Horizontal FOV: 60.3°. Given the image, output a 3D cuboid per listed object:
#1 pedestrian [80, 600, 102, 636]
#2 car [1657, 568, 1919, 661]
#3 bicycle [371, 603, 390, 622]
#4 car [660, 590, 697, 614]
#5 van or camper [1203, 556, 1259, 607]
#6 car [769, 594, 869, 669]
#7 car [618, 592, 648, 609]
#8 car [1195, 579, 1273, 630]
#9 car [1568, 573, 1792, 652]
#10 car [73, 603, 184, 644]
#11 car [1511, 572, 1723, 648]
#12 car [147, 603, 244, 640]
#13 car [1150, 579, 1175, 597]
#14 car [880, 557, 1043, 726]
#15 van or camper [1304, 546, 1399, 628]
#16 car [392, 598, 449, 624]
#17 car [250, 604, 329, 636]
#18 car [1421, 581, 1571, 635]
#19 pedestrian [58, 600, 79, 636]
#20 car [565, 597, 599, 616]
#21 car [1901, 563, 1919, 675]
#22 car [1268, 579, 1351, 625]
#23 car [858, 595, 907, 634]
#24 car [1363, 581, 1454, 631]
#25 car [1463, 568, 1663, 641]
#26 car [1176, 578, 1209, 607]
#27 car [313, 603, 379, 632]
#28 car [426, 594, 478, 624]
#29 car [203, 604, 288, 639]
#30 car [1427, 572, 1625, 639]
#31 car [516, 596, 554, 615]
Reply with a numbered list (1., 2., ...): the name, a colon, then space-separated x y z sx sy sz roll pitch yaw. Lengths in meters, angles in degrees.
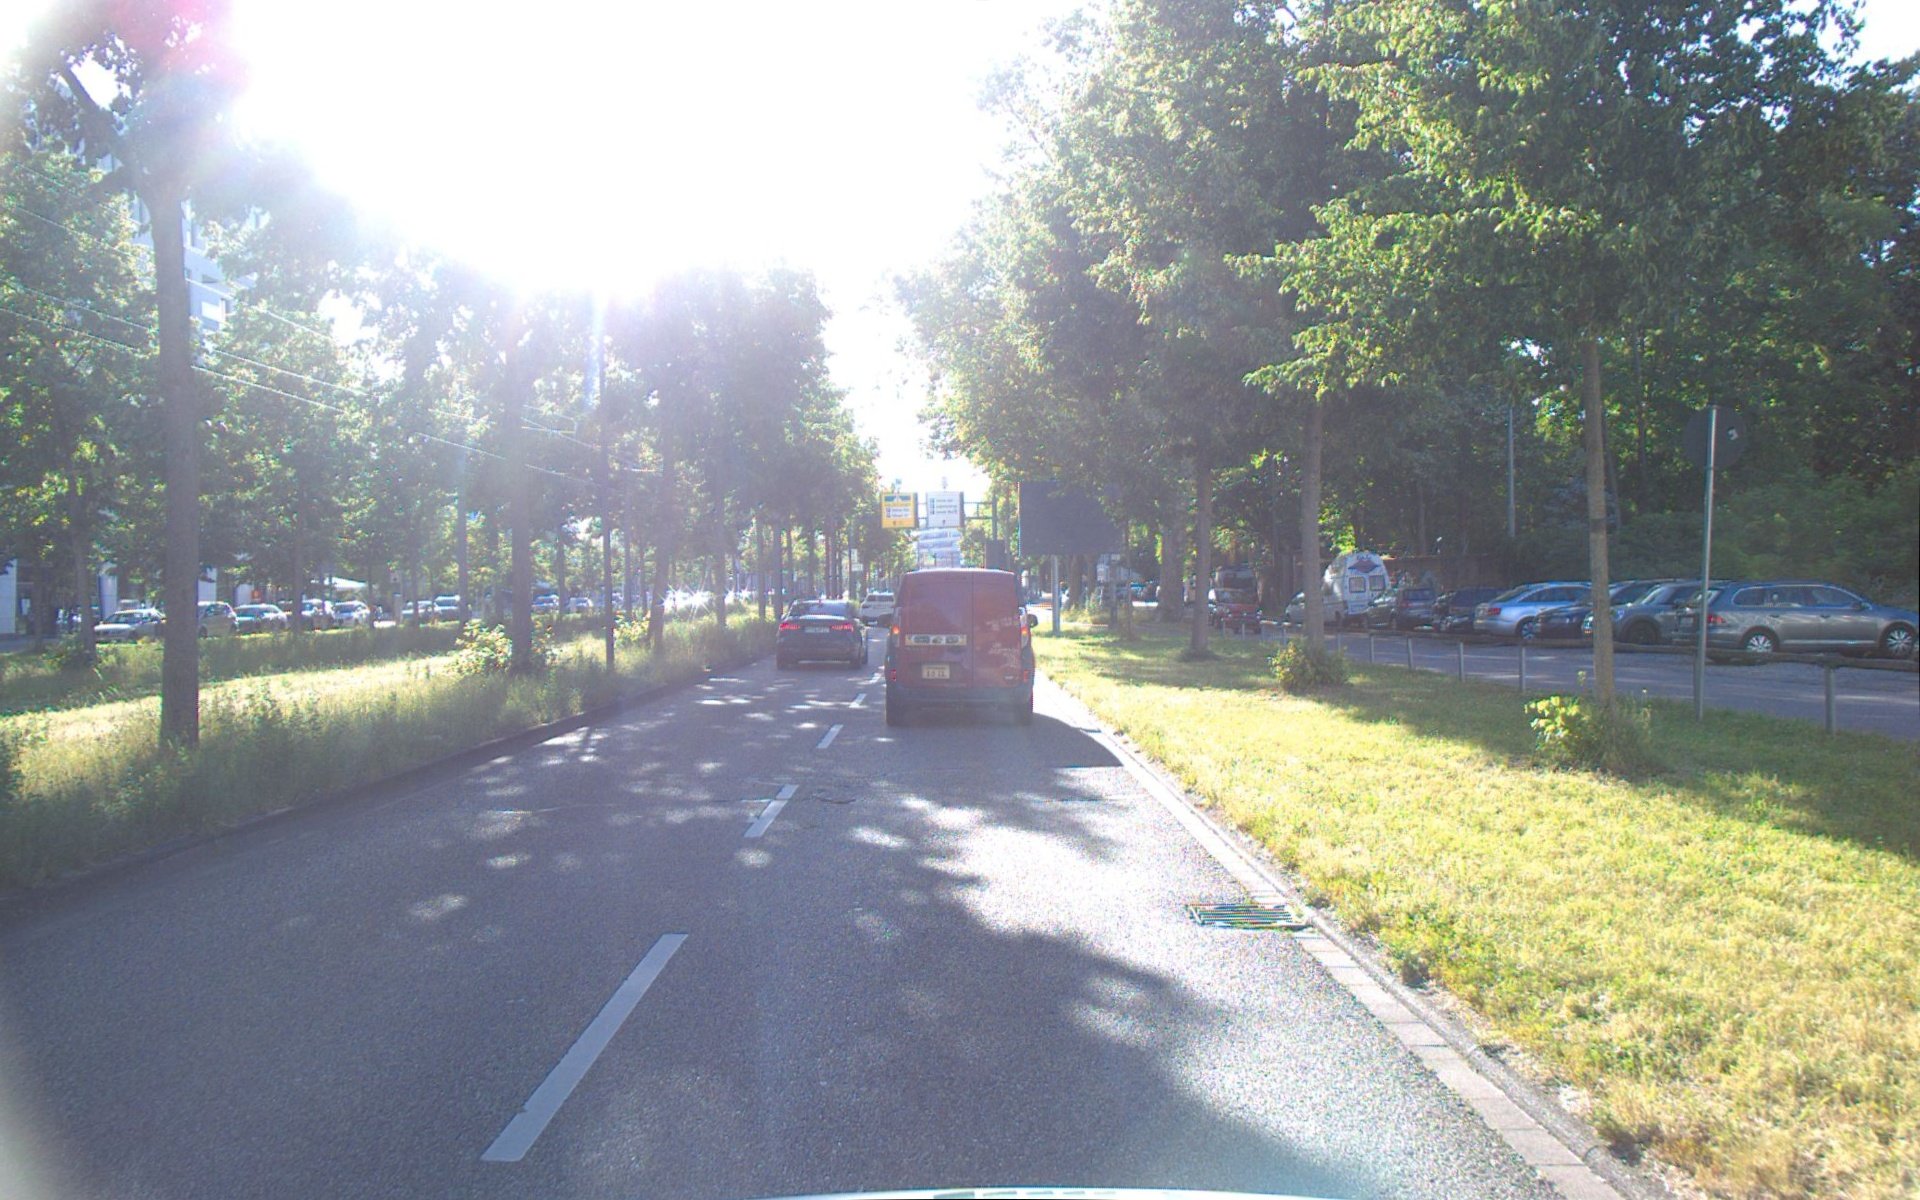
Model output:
1. pedestrian: -40.649 0.844 77.373 0.623 1.680 0.720 0 0 -3
2. car: 15.279 0.265 30.596 3.996 1.493 1.715 -3 0 0
3. bicycle: -38.815 0.828 110.802 0.576 1.274 1.839 0 0 -1
4. car: -20.913 0.158 123.118 1.953 1.715 5.109 1 0 -1
5. van or camper: 15.860 -1.110 97.156 2.503 2.730 6.568 -3 1 4
6. car: -2.871 0.622 34.397 1.755 1.453 4.000 1 0 0
7. car: -32.425 0.081 163.984 1.952 1.636 4.611 0 0 1
8. car: 9.323 0.156 56.602 1.953 1.668 3.999 1 0 -1
9. car: 15.634 0.255 36.034 4.108 1.524 1.781 -2 0 -4
10. car: -31.371 0.875 62.546 1.954 1.466 4.776 1 0 -3
11. car: 15.556 0.211 39.282 4.244 1.503 1.905 -3 2 -4
12. car: -31.256 0.855 67.749 1.953 1.466 4.455 1 0 -1
13. car: 19.550 -1.139 159.902 1.952 1.668 4.000 0 0 1
14. car: -0.077 0.466 20.423 1.772 1.870 3.997 1 0 -3
15. van or camper: 14.522 -0.471 61.608 1.954 2.778 4.961 -4 0 -3
16. car: -31.508 0.638 96.676 1.918 1.466 4.265 1 0 0
17. car: -31.898 0.922 78.884 1.954 1.466 4.934 1 0 -3
18. car: 16.074 0.237 49.700 3.910 1.531 1.763 -1 0 -7
19. pedestrian: -41.438 0.837 76.918 0.623 1.680 0.719 1 0 -8
20. car: -32.500 0.554 142.279 1.840 1.649 4.611 0 0 1
21. car: 14.872 0.217 22.988 2.707 1.577 1.463 -2 -1 9
22. car: 14.200 0.073 67.437 1.807 1.645 3.989 -5 1 -11
23. car: -3.346 0.620 72.193 1.953 1.646 4.000 1 0 0
24. car: 15.069 0.198 55.774 1.953 1.601 3.999 1 0 -1
25. car: 15.263 0.103 42.061 4.291 1.435 2.001 -5 0 2
26. car: 16.849 -0.548 120.099 2.043 2.049 4.945 -1 0 4
27. car: -31.726 0.878 85.564 1.954 1.466 4.453 1 0 -3
28. car: -31.733 0.526 103.375 1.954 1.803 4.774 1 0 -3
29. car: -31.516 0.923 73.086 1.954 1.466 4.453 1 0 -3
30. car: 15.357 0.141 45.031 4.624 1.430 2.000 -4 0 0
31. car: -32.820 0.414 127.918 1.841 1.460 4.609 -1 0 -2
